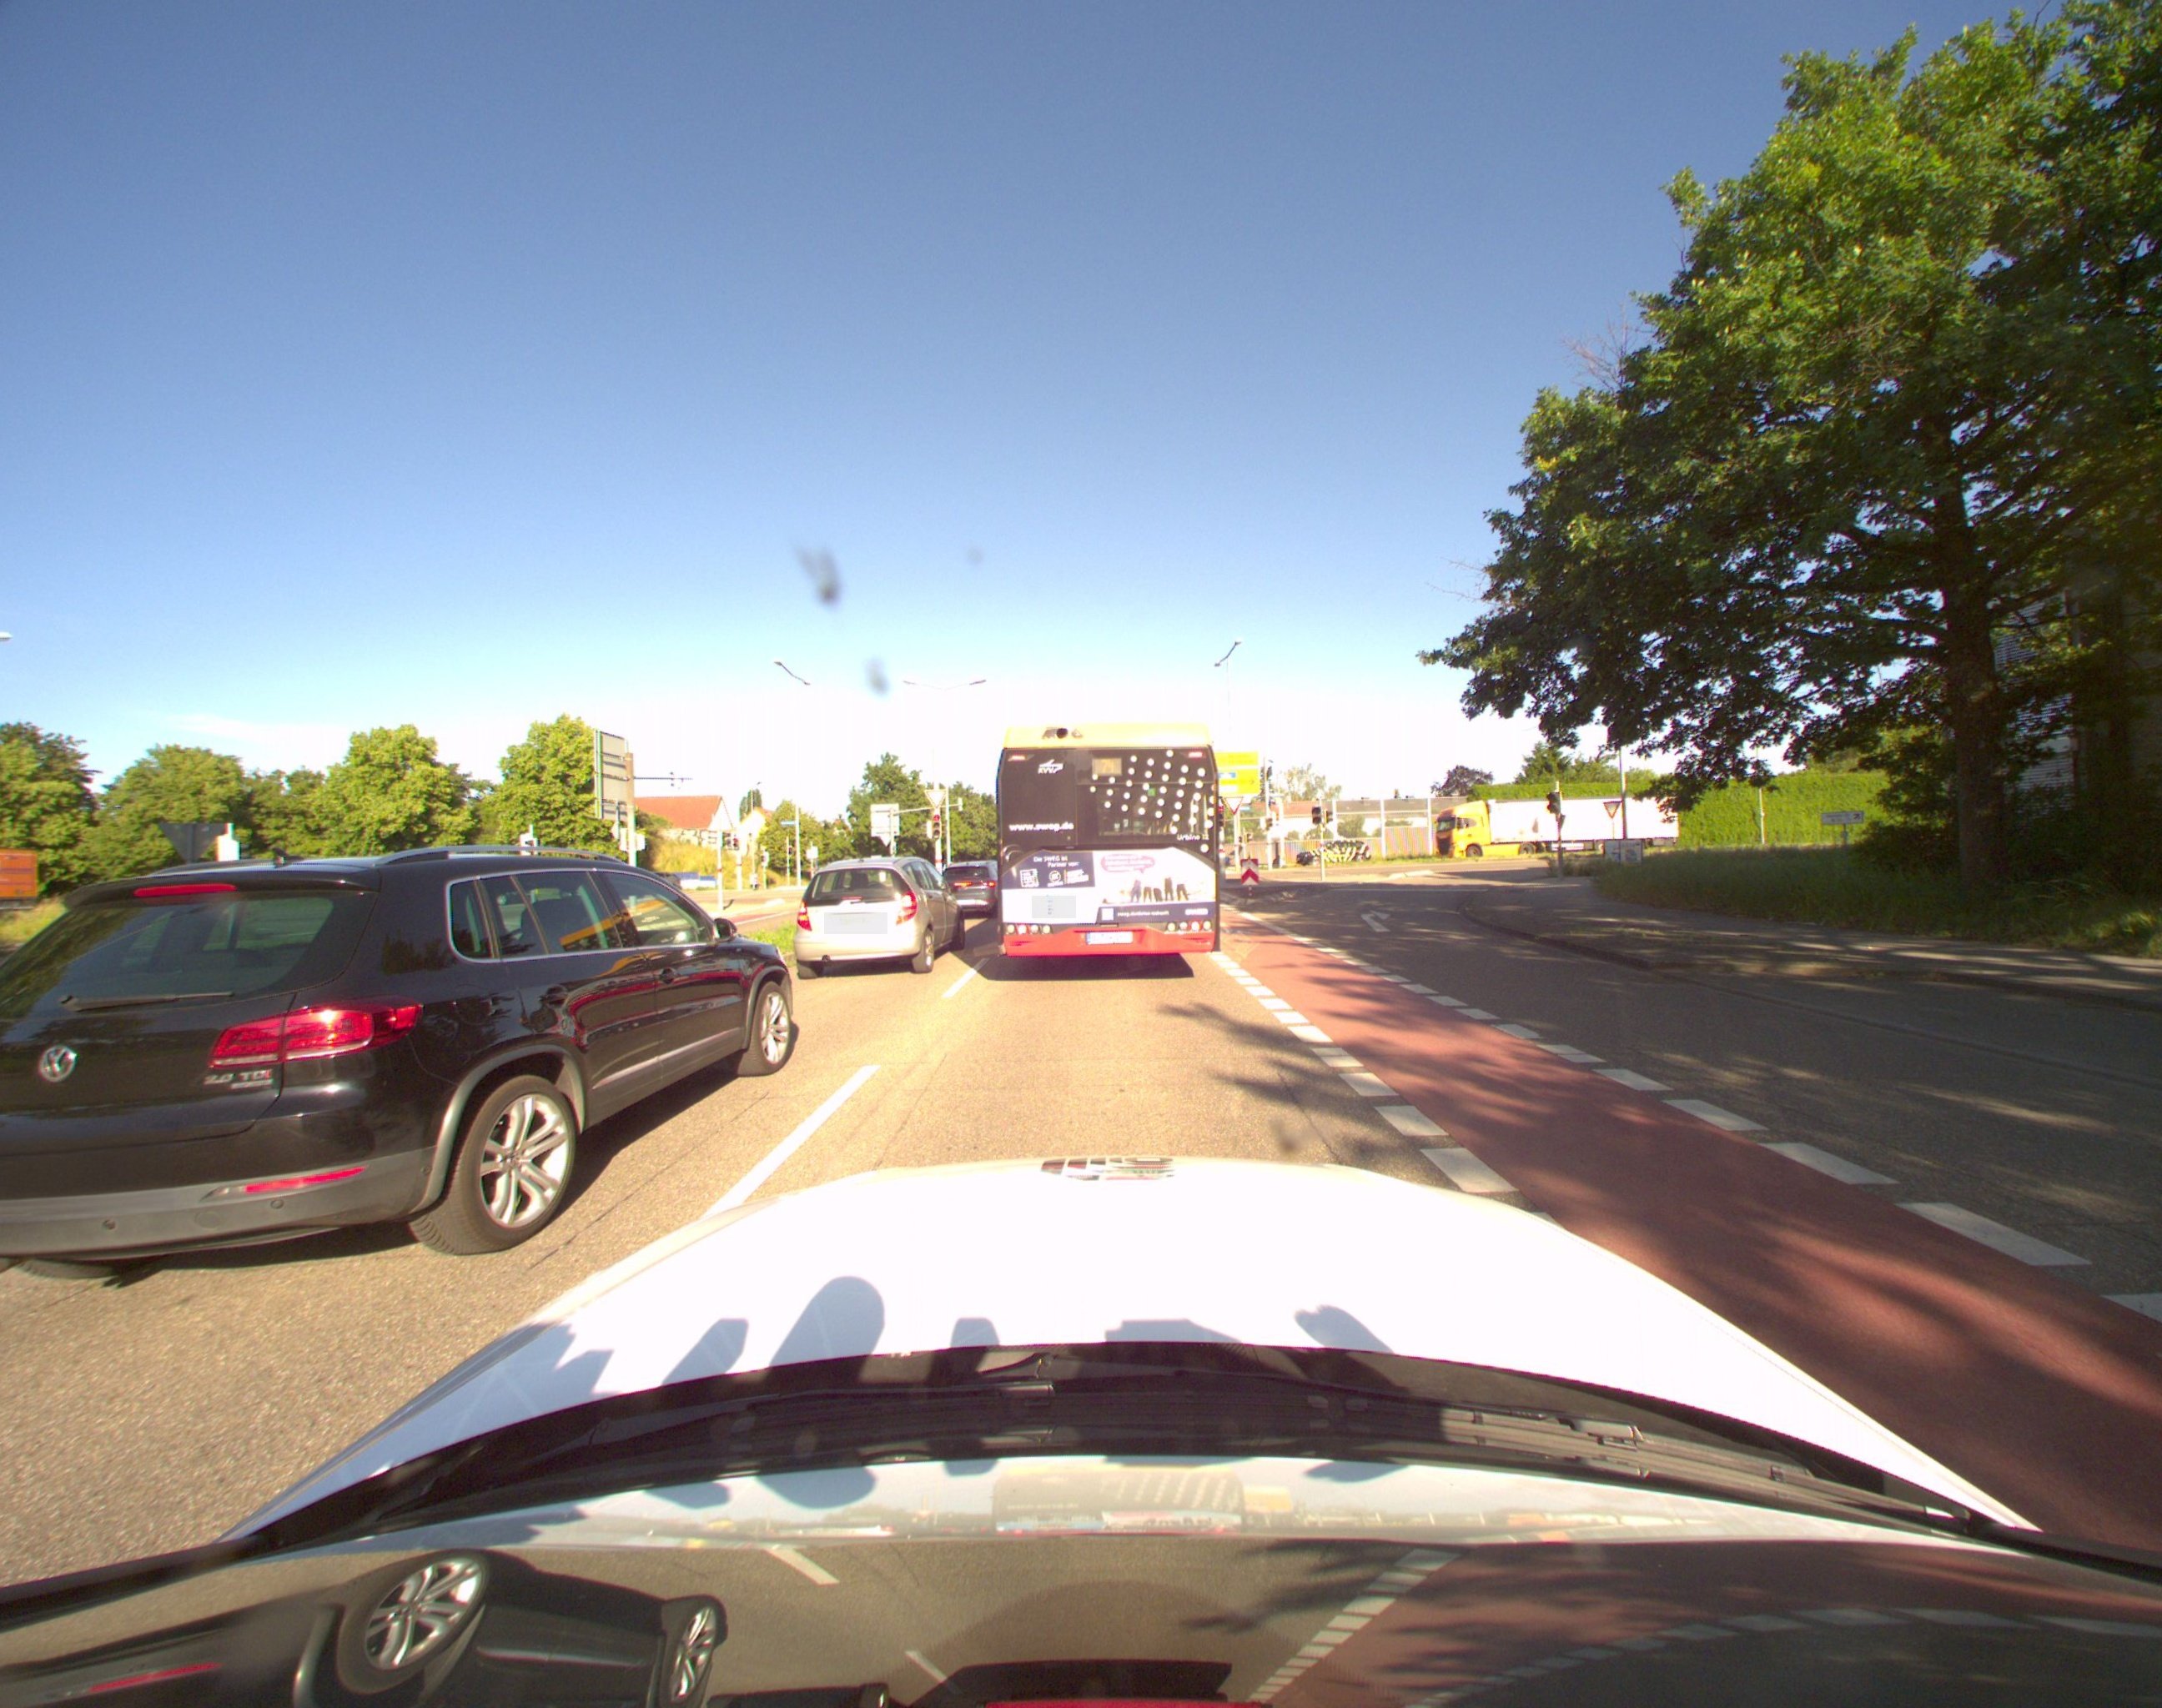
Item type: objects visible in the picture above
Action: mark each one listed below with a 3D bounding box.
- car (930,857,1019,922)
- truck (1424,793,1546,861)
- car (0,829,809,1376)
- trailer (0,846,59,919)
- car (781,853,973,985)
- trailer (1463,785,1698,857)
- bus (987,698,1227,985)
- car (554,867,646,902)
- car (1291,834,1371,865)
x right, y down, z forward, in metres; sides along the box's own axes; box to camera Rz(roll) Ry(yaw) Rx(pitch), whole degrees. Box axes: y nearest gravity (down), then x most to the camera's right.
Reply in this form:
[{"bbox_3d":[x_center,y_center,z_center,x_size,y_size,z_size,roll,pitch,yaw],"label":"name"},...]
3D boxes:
[{"bbox_3d":[-2.682,0.859,21.321,1.686,1.458,3.751,-3,0,1],"label":"car"},{"bbox_3d":[27.568,-1.791,55.825,6.466,4.012,3.434,-4,0,-5],"label":"truck"},{"bbox_3d":[-3.163,0.801,4.561,1.766,1.653,4.001,-3,0,1],"label":"car"},{"bbox_3d":[-69.719,1.701,47.145,15.285,4.185,3.434,0,-1,-5],"label":"trailer"},{"bbox_3d":[-2.868,0.827,12.387,1.755,1.589,4.001,-3,0,1],"label":"car"},{"bbox_3d":[34.516,-2.241,56.478,14.634,4.012,3.434,-4,0,-6],"label":"trailer"},{"bbox_3d":[0.530,-0.162,15.025,2.632,3.167,11.867,-1,0,2],"label":"bus"},{"bbox_3d":[-24.566,1.541,41.677,3.577,1.560,1.747,-2,0,-5],"label":"car"},{"bbox_3d":[14.610,-0.250,47.626,4.060,1.526,1.765,-3,0,-5],"label":"car"}]
